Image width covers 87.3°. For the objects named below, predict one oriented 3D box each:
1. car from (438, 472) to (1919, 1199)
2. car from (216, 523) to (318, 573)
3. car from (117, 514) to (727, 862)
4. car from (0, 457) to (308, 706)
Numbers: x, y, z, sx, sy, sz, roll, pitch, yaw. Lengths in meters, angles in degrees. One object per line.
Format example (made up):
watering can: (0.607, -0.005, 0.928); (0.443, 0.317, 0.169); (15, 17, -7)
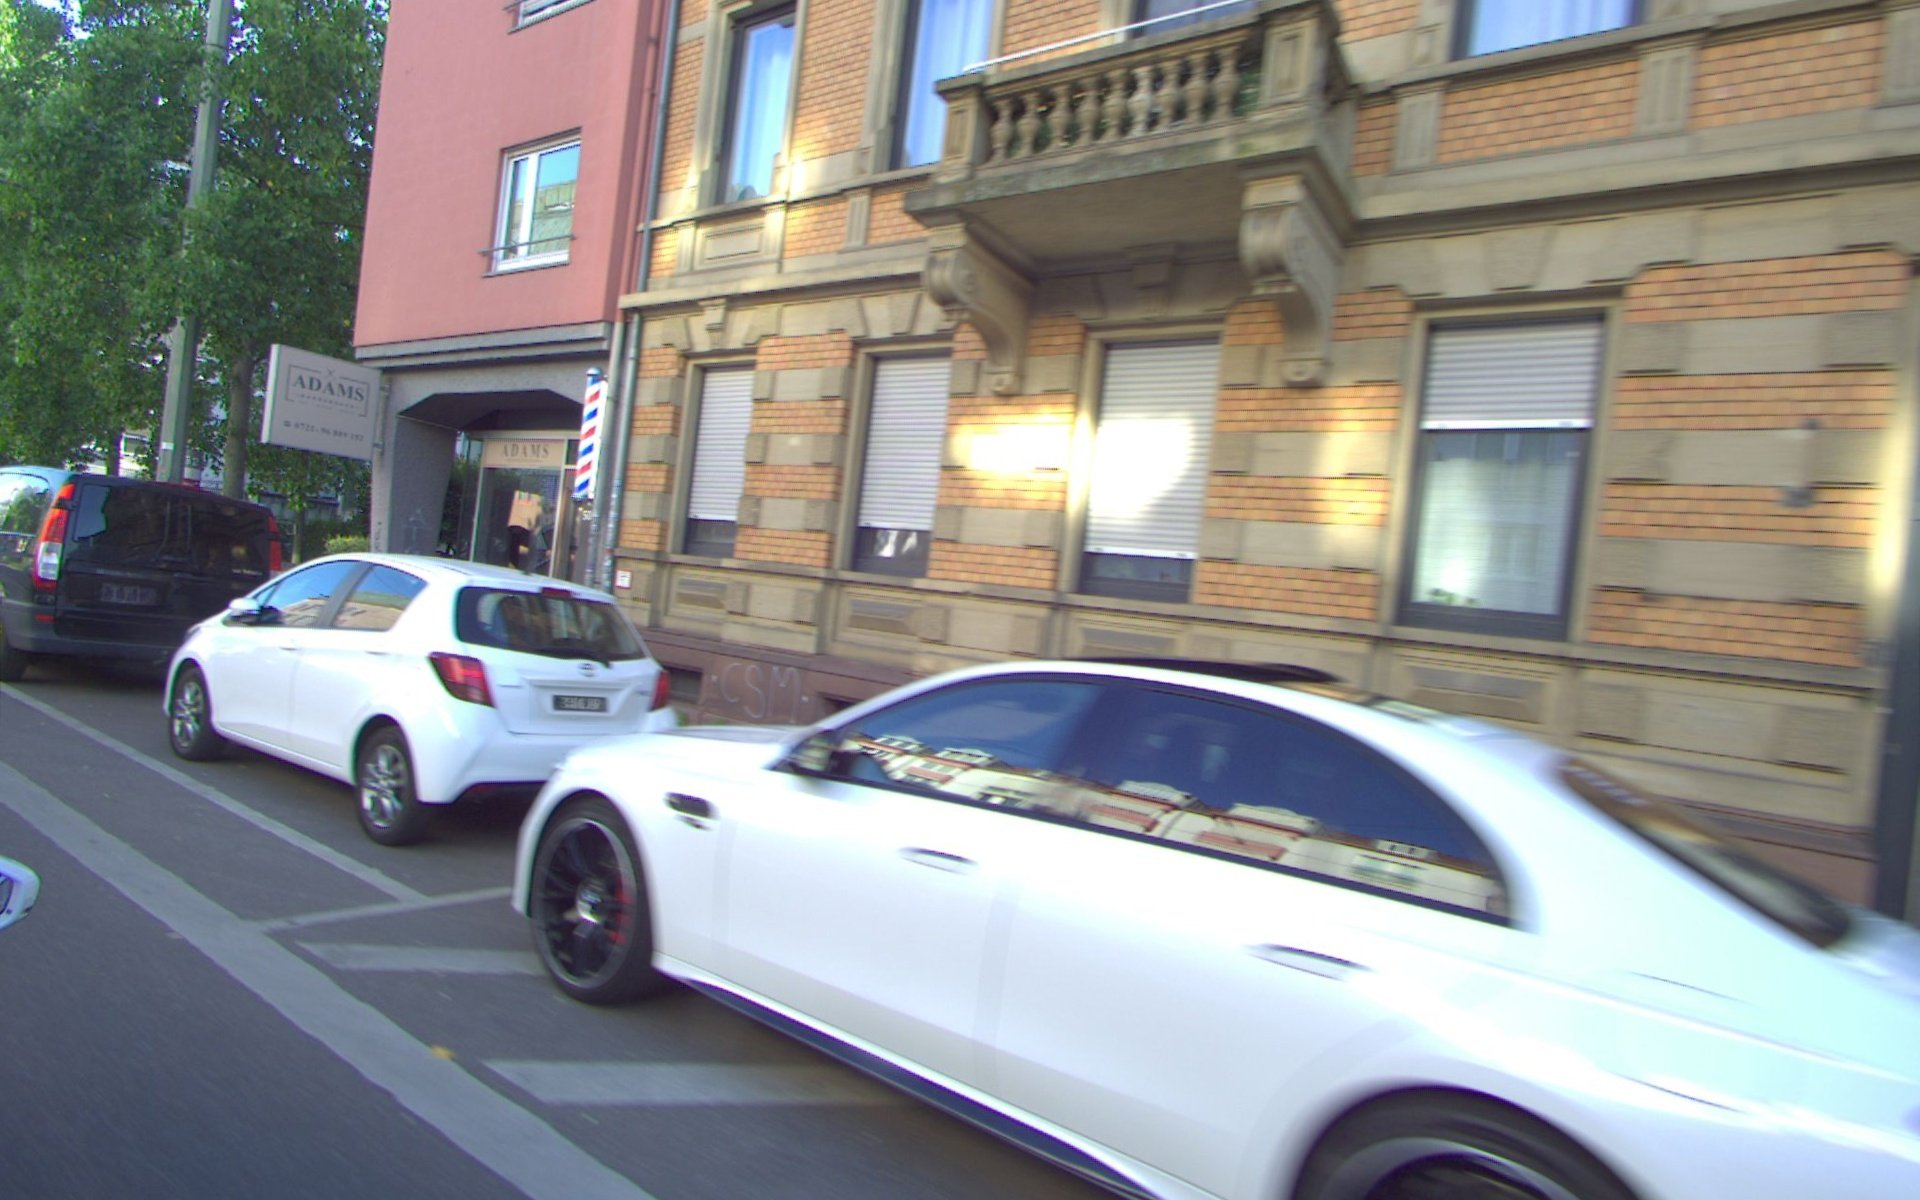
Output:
car: (0.528, 0.692, 3.427); (4.799, 1.791, 1.969); (6, -3, 36)
car: (-28.502, -2.154, 41.353); (4.364, 1.513, 1.867); (7, 0, 33)
car: (-3.641, 0.433, 6.636); (3.897, 1.512, 1.734); (6, -3, 33)
car: (-8.789, -0.271, 10.100); (4.912, 1.889, 1.958); (6, -3, 36)
